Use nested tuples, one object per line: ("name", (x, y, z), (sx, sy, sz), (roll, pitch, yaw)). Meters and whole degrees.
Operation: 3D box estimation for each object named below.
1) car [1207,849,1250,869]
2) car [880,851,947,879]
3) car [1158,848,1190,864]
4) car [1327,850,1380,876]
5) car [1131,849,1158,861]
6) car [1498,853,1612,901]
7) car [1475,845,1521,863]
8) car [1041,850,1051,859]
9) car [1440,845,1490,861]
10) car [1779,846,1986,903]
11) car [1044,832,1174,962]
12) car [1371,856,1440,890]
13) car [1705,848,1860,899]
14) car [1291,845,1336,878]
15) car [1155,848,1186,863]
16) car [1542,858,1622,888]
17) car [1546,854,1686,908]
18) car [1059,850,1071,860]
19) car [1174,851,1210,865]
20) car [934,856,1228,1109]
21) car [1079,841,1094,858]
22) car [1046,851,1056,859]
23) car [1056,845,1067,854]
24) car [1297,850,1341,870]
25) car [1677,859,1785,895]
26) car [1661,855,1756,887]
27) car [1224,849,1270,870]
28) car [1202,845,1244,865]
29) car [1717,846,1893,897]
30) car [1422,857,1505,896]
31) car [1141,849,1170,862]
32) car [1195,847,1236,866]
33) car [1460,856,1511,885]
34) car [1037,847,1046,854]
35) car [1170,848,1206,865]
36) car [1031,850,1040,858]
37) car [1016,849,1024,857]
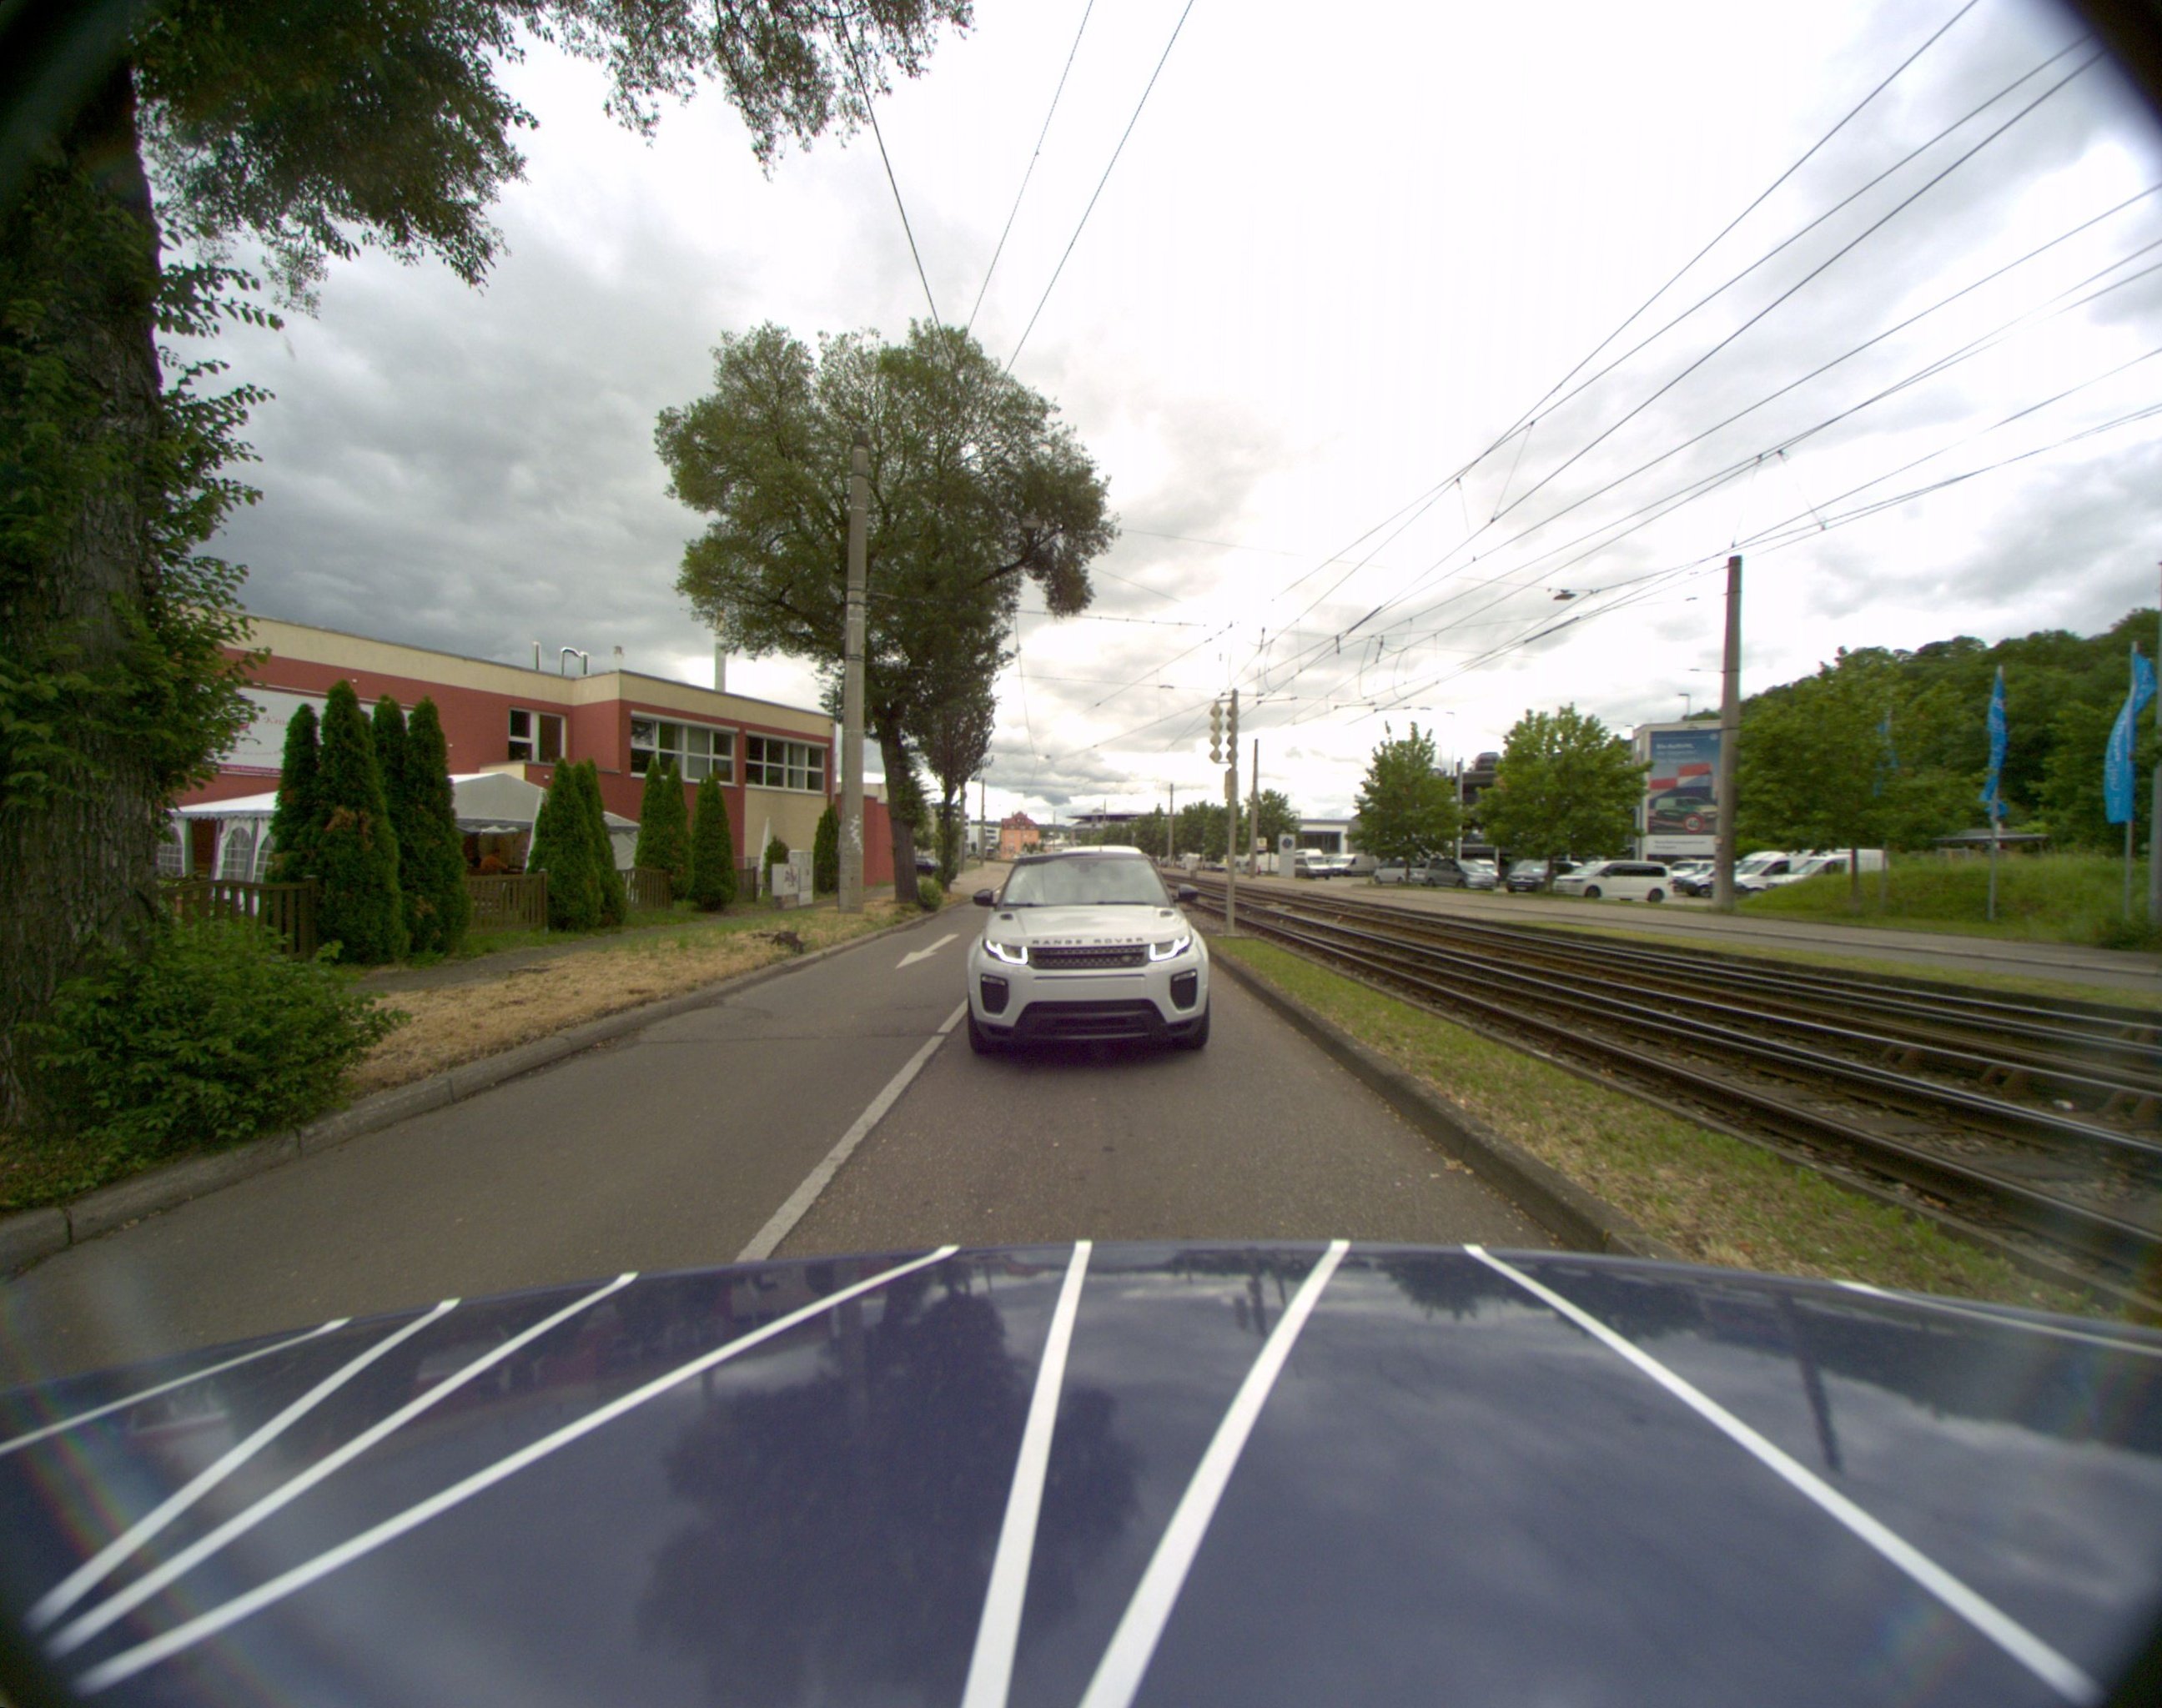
("car", (17.704, 0.600, 91.175), (4.639, 2.196, 2.107), (-2, 1, -8))
("car", (-10.899, 0.682, 49.619), (3.999, 1.636, 1.895), (-2, 1, -6))
("car", (14.765, 0.304, 120.485), (4.639, 2.196, 2.107), (-2, 1, -8))
("car", (30.330, 0.969, 84.563), (6.057, 2.608, 2.316), (-3, 1, -34))
("car", (11.853, 0.182, 141.319), (4.639, 2.196, 2.107), (-2, 1, -8))
("car", (24.685, 1.178, 39.666), (4.774, 2.254, 1.979), (-2, 1, -3))
("car", (47.157, -0.033, 85.989), (4.227, 1.826, 1.983), (-2, 1, 21))
("car", (-8.181, 0.006, 177.522), (2.000, 2.002, 3.997), (-2, 1, -7))
("car", (46.344, -0.116, 91.797), (5.216, 1.826, 1.983), (-2, 1, 21))
("car", (34.679, 0.909, 33.126), (5.850, 2.254, 2.056), (-2, 1, 22))
("car", (0.418, 0.642, 14.203), (1.999, 1.990, 5.033), (0, 1, 0))
("car", (22.133, 1.241, 52.103), (2.142, 2.104, 4.772), (-2, 1, -8))
("car", (36.691, 1.005, 39.951), (5.652, 2.446, 1.983), (-2, 1, 19))
("car", (22.408, 0.671, 73.593), (2.320, 2.994, 6.157), (-2, 1, 0))
("car", (14.488, 0.287, 122.920), (4.639, 2.196, 2.107), (-2, 1, -8))
("car", (34.405, 1.299, 52.315), (4.228, 1.826, 1.983), (-2, 1, 19))
("car", (25.269, 1.238, 35.998), (5.269, 2.254, 1.999), (-2, 1, -3))
("car", (-3.172, 0.170, 153.216), (2.000, 2.002, 3.997), (-2, 1, -7))
("car", (15.773, 0.588, 108.141), (4.639, 1.829, 2.107), (-2, 1, -8))
("car", (0.001, 0.888, 7.316), (1.998, 1.680, 4.268), (0, 1, 0))
("car", (0.918, -0.773, 131.871), (2.410, 2.931, 4.747), (-2, 1, -2))
("car", (-7.562, 0.303, 191.852), (2.000, 2.002, 3.997), (-2, 1, -7))
("car", (-4.629, -1.059, 178.513), (2.000, 2.002, 3.997), (-2, 1, -7))
("car", (29.124, 0.714, 93.026), (4.636, 2.196, 2.108), (-2, 1, -1))
("car", (36.661, 1.282, 42.984), (4.228, 1.826, 1.983), (-2, 1, 19))
("car", (39.881, 1.089, 48.395), (4.228, 1.826, 1.983), (-2, 1, 19))
("car", (18.793, 0.600, 86.089), (4.639, 2.196, 2.107), (-2, 1, -8))
("car", (17.496, 0.134, 93.611), (4.639, 2.196, 2.107), (-2, 1, -8))
("car", (34.950, 0.856, 36.924), (5.839, 2.254, 2.056), (-2, 1, 22))
("car", (22.976, 1.275, 45.872), (2.142, 2.104, 4.773), (-2, 1, -7))
("car", (13.018, 0.232, 132.837), (4.639, 2.196, 2.107), (-2, 1, -8))
("car", (17.075, 0.315, 96.395), (4.639, 2.196, 2.107), (-2, 1, -8))
("car", (28.886, 1.145, 54.408), (1.900, 1.882, 4.600), (-2, 1, 12))
("car", (-10.627, -0.975, 205.071), (2.000, 2.002, 3.997), (-2, 1, -7))
("car", (15.545, 0.386, 110.545), (4.639, 2.196, 2.107), (-2, 1, -8))
("car", (-11.466, 0.026, 190.933), (2.000, 2.002, 3.997), (-2, 1, -7))
("car", (-17.438, -0.309, 215.782), (2.000, 2.002, 3.997), (-2, 1, -7))
